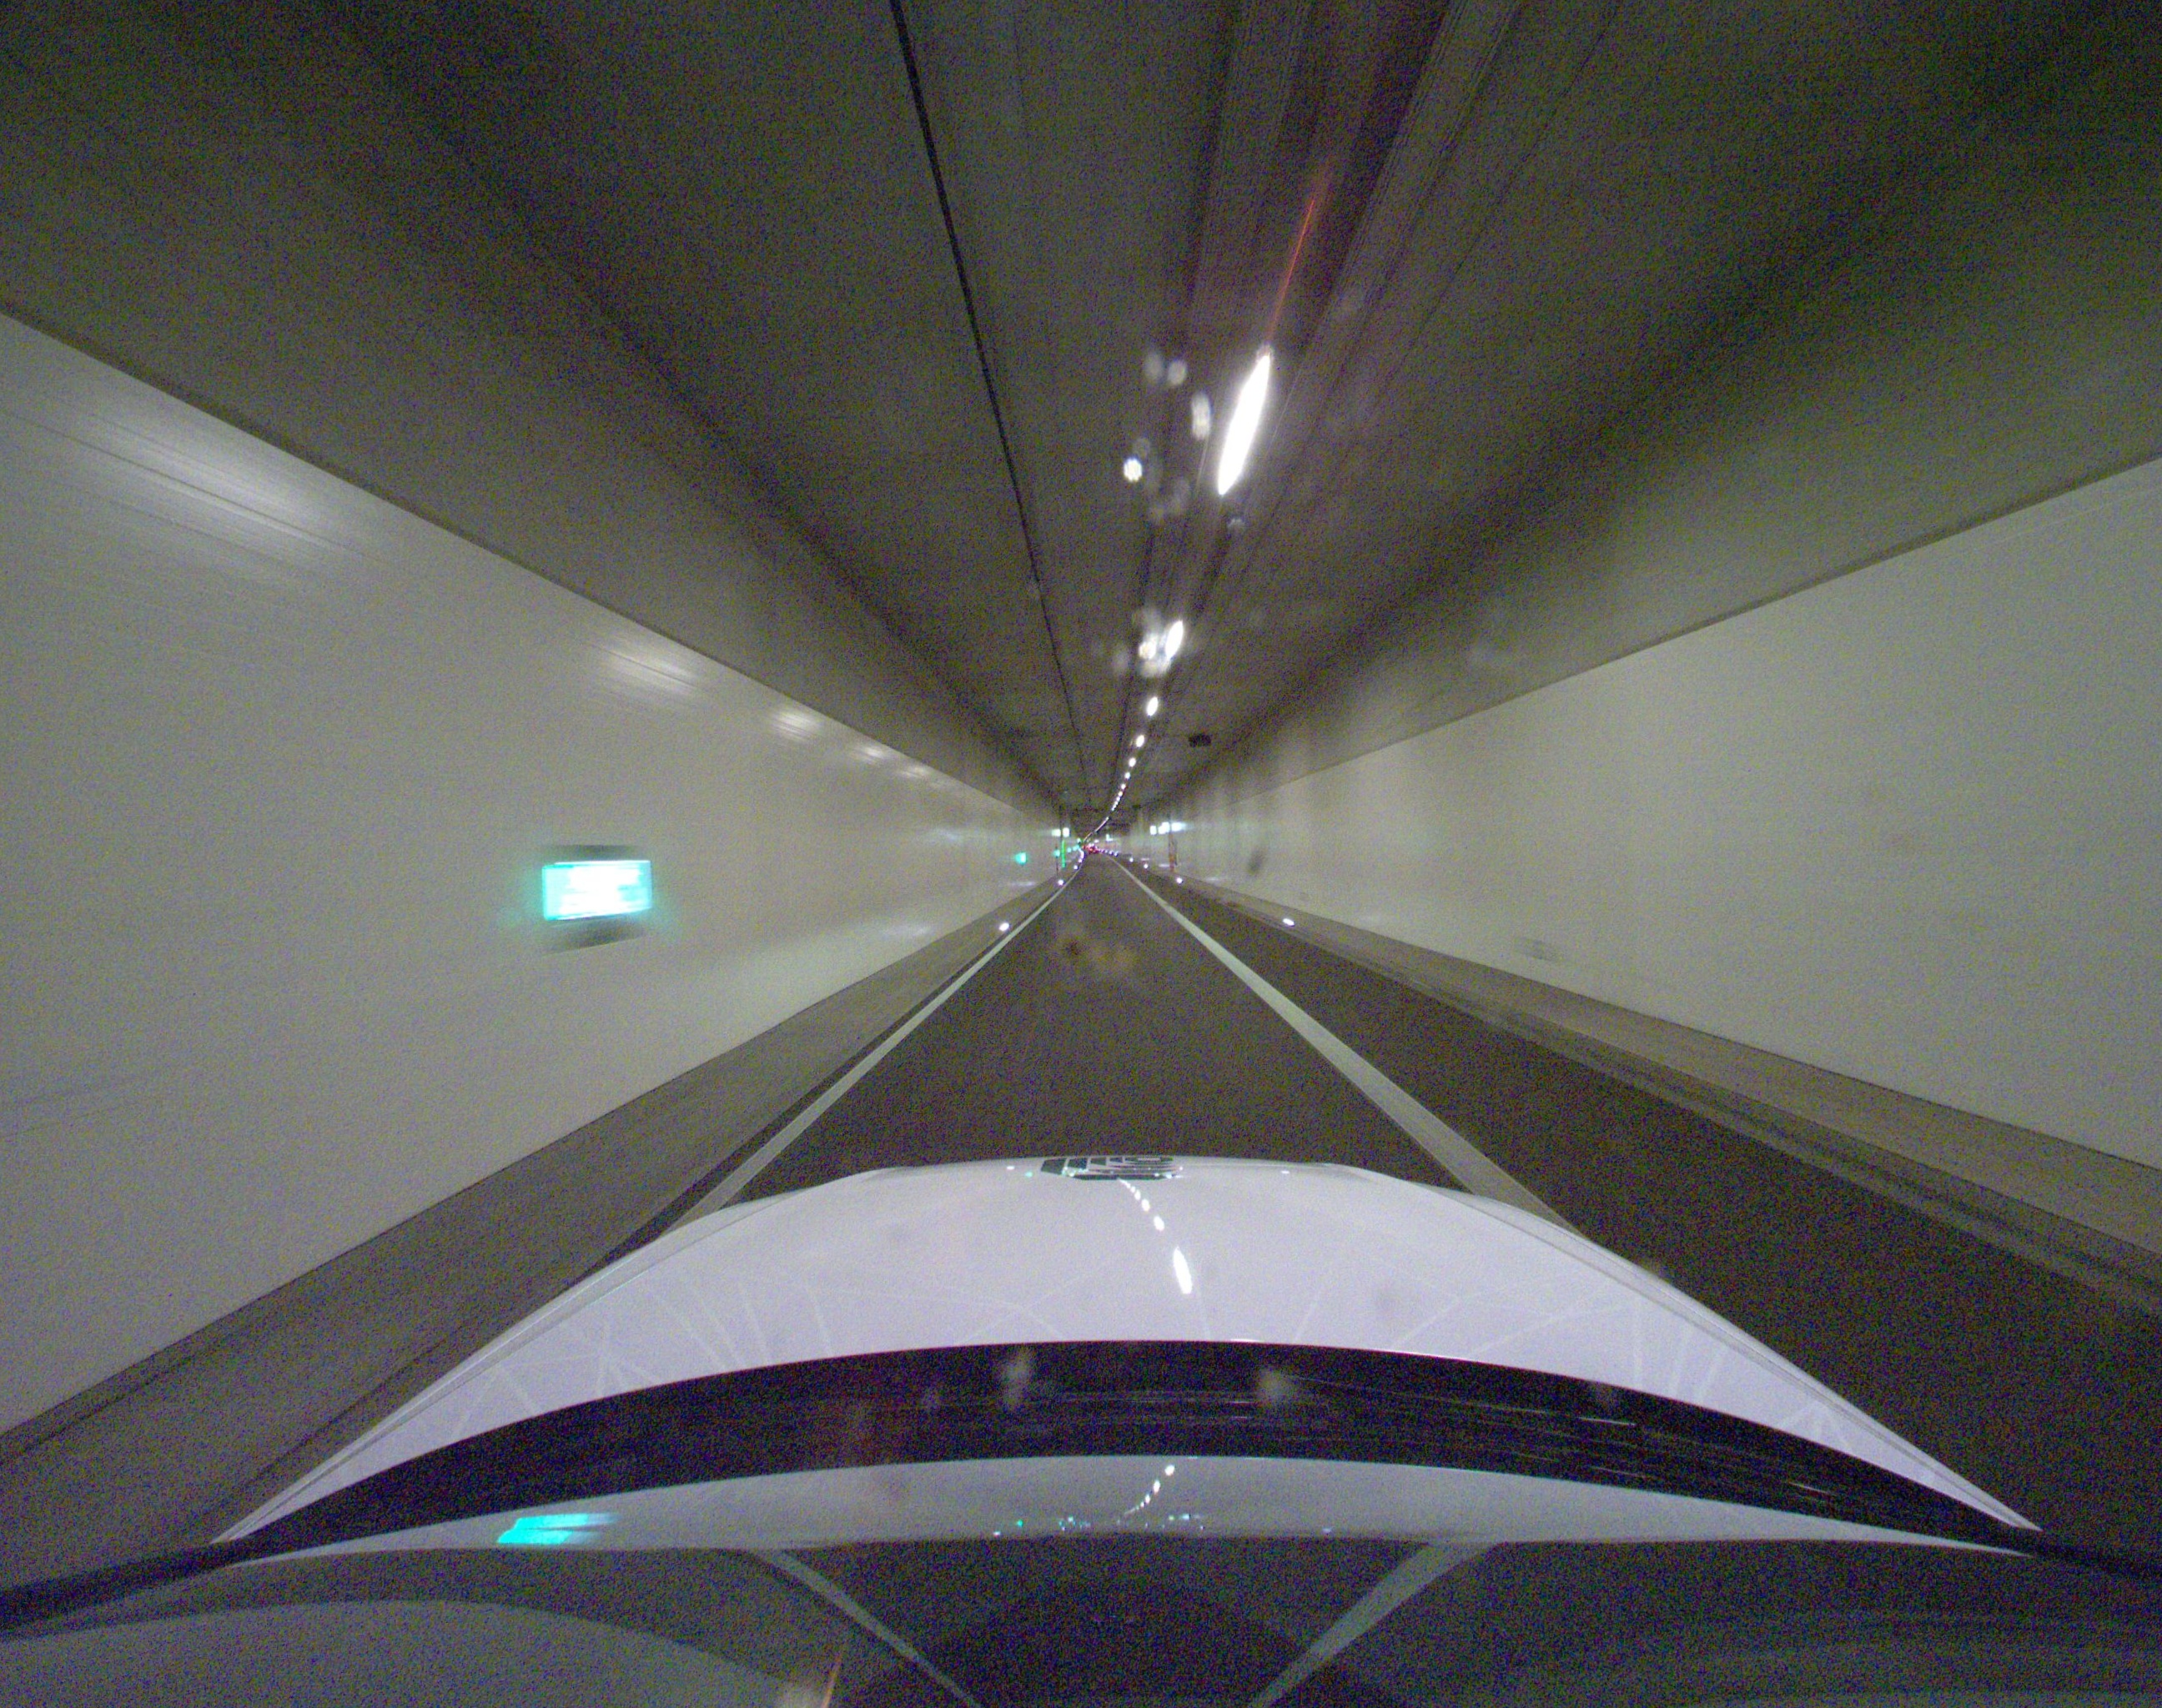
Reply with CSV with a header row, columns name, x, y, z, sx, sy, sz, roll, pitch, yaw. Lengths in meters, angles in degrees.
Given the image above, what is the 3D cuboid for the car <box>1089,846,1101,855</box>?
name,x,y,z,sx,sy,sz,roll,pitch,yaw
car,2.534,-0.669,151.527,1.988,1.420,3.999,-4,1,-1
